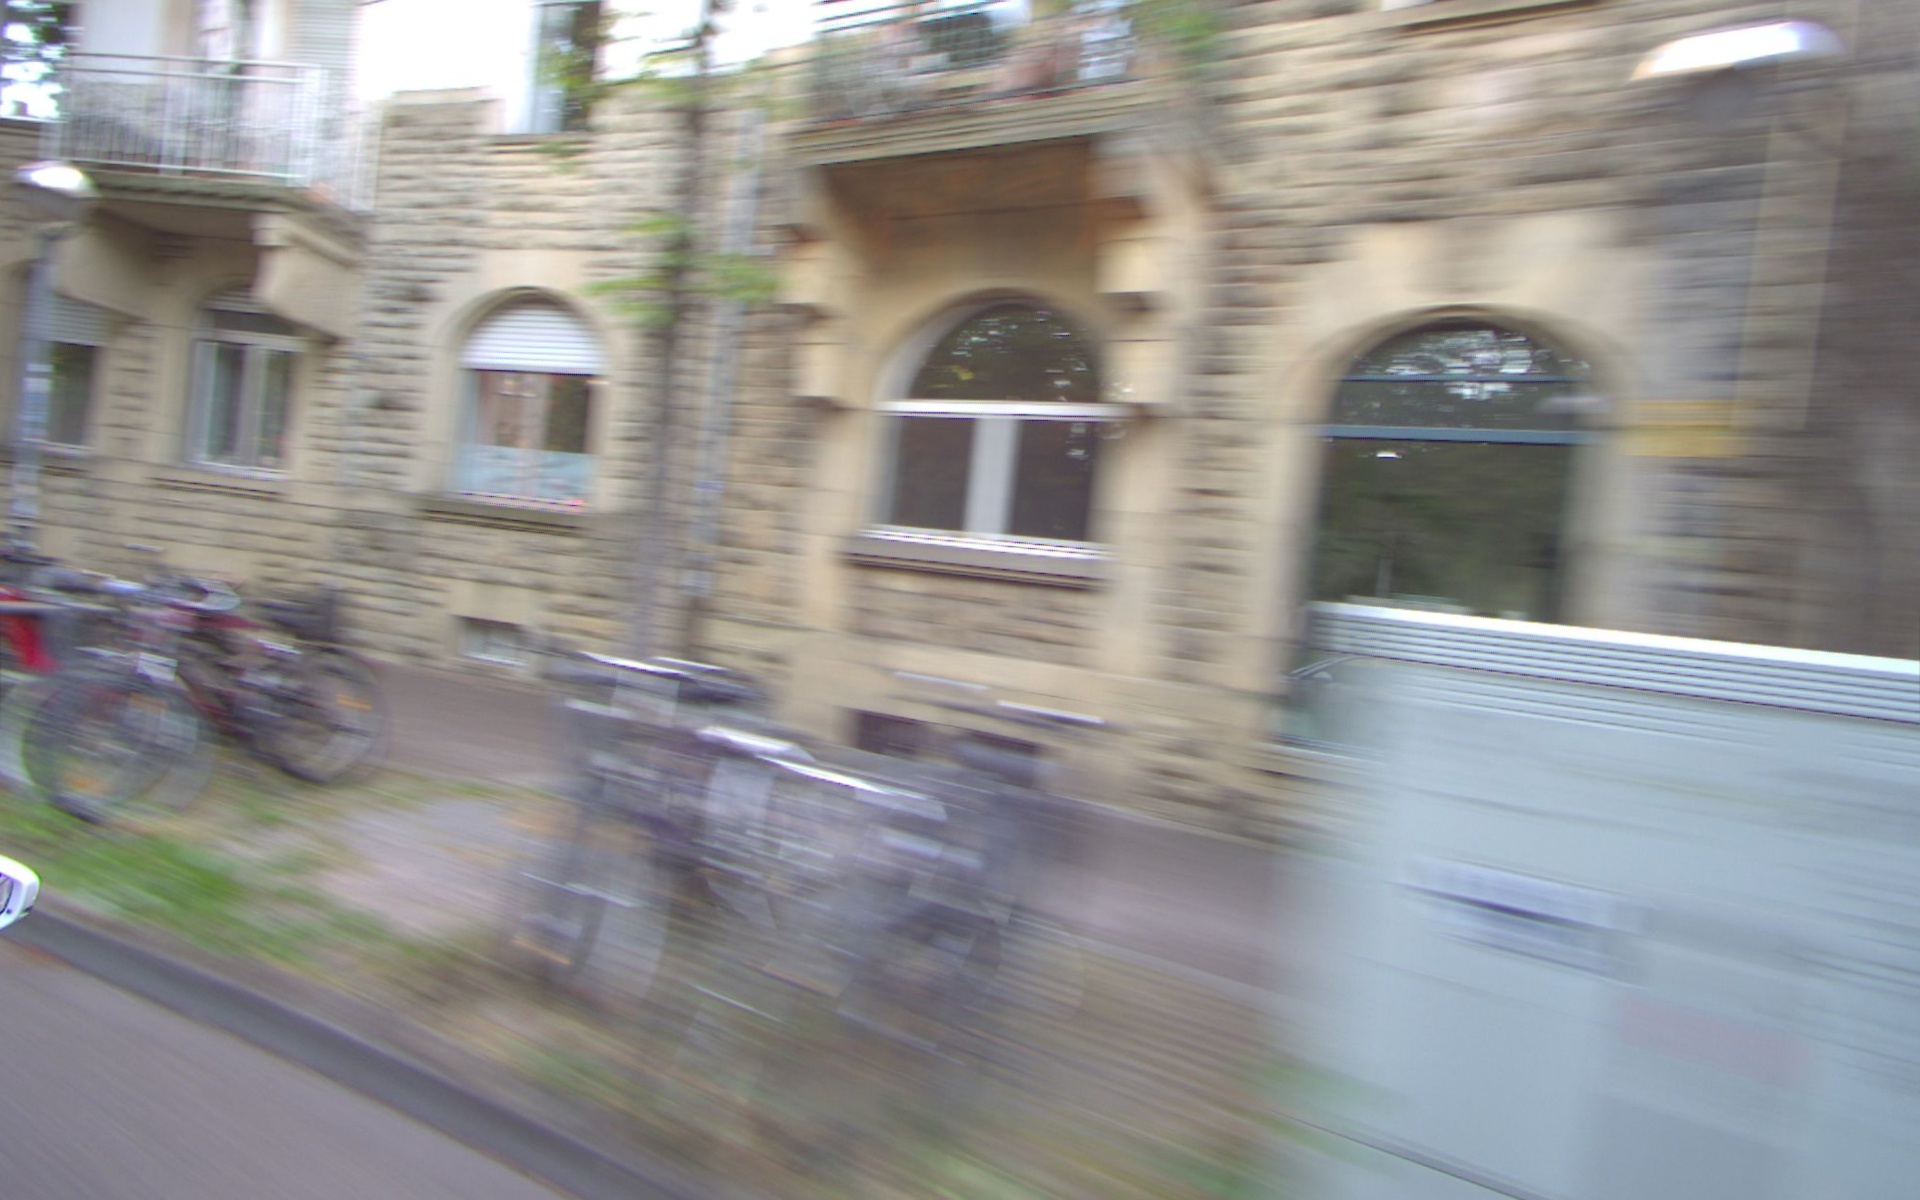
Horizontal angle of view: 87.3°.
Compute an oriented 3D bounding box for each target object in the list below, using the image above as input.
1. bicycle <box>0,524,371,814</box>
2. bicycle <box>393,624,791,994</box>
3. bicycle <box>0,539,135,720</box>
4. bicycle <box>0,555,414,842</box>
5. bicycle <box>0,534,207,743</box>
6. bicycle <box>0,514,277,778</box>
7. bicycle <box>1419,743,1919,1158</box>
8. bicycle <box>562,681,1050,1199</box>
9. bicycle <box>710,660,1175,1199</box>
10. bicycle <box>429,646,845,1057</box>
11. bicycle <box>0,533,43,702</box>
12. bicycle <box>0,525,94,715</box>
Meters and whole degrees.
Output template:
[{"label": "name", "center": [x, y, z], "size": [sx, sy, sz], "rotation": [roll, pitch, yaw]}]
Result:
[{"label": "bicycle", "center": [-3.897, 0.299, 4.971], "size": [0.439, 1.183, 1.796], "rotation": [7, 1, 17]}, {"label": "bicycle", "center": [-1.290, 0.671, 3.888], "size": [0.411, 1.089, 1.607], "rotation": [7, 1, 20]}, {"label": "bicycle", "center": [-5.774, 0.151, 5.595], "size": [0.411, 1.027, 1.855], "rotation": [7, 1, 17]}, {"label": "bicycle", "center": [-3.547, 0.401, 4.787], "size": [0.439, 1.077, 1.796], "rotation": [7, 1, 17]}, {"label": "bicycle", "center": [-5.259, 0.191, 5.432], "size": [0.542, 1.078, 1.921], "rotation": [7, 1, 14]}, {"label": "bicycle", "center": [-4.602, 0.208, 5.103], "size": [0.542, 1.215, 1.921], "rotation": [7, 1, 14]}, {"label": "bicycle", "center": [2.583, 1.142, 3.461], "size": [1.697, 0.981, 0.431], "rotation": [7, 2, 30]}, {"label": "bicycle", "center": [-0.311, 0.813, 2.989], "size": [0.545, 1.033, 1.606], "rotation": [7, 1, 24]}, {"label": "bicycle", "center": [0.090, 0.789, 2.808], "size": [0.545, 1.162, 1.606], "rotation": [7, 1, 24]}, {"label": "bicycle", "center": [-1.013, 0.731, 3.582], "size": [0.411, 1.077, 1.607], "rotation": [7, 1, 20]}, {"label": "bicycle", "center": [-6.600, 0.073, 5.795], "size": [0.525, 1.074, 1.921], "rotation": [7, 1, 14]}, {"label": "bicycle", "center": [-6.086, 0.092, 5.649], "size": [0.411, 1.131, 1.855], "rotation": [7, 1, 17]}]
